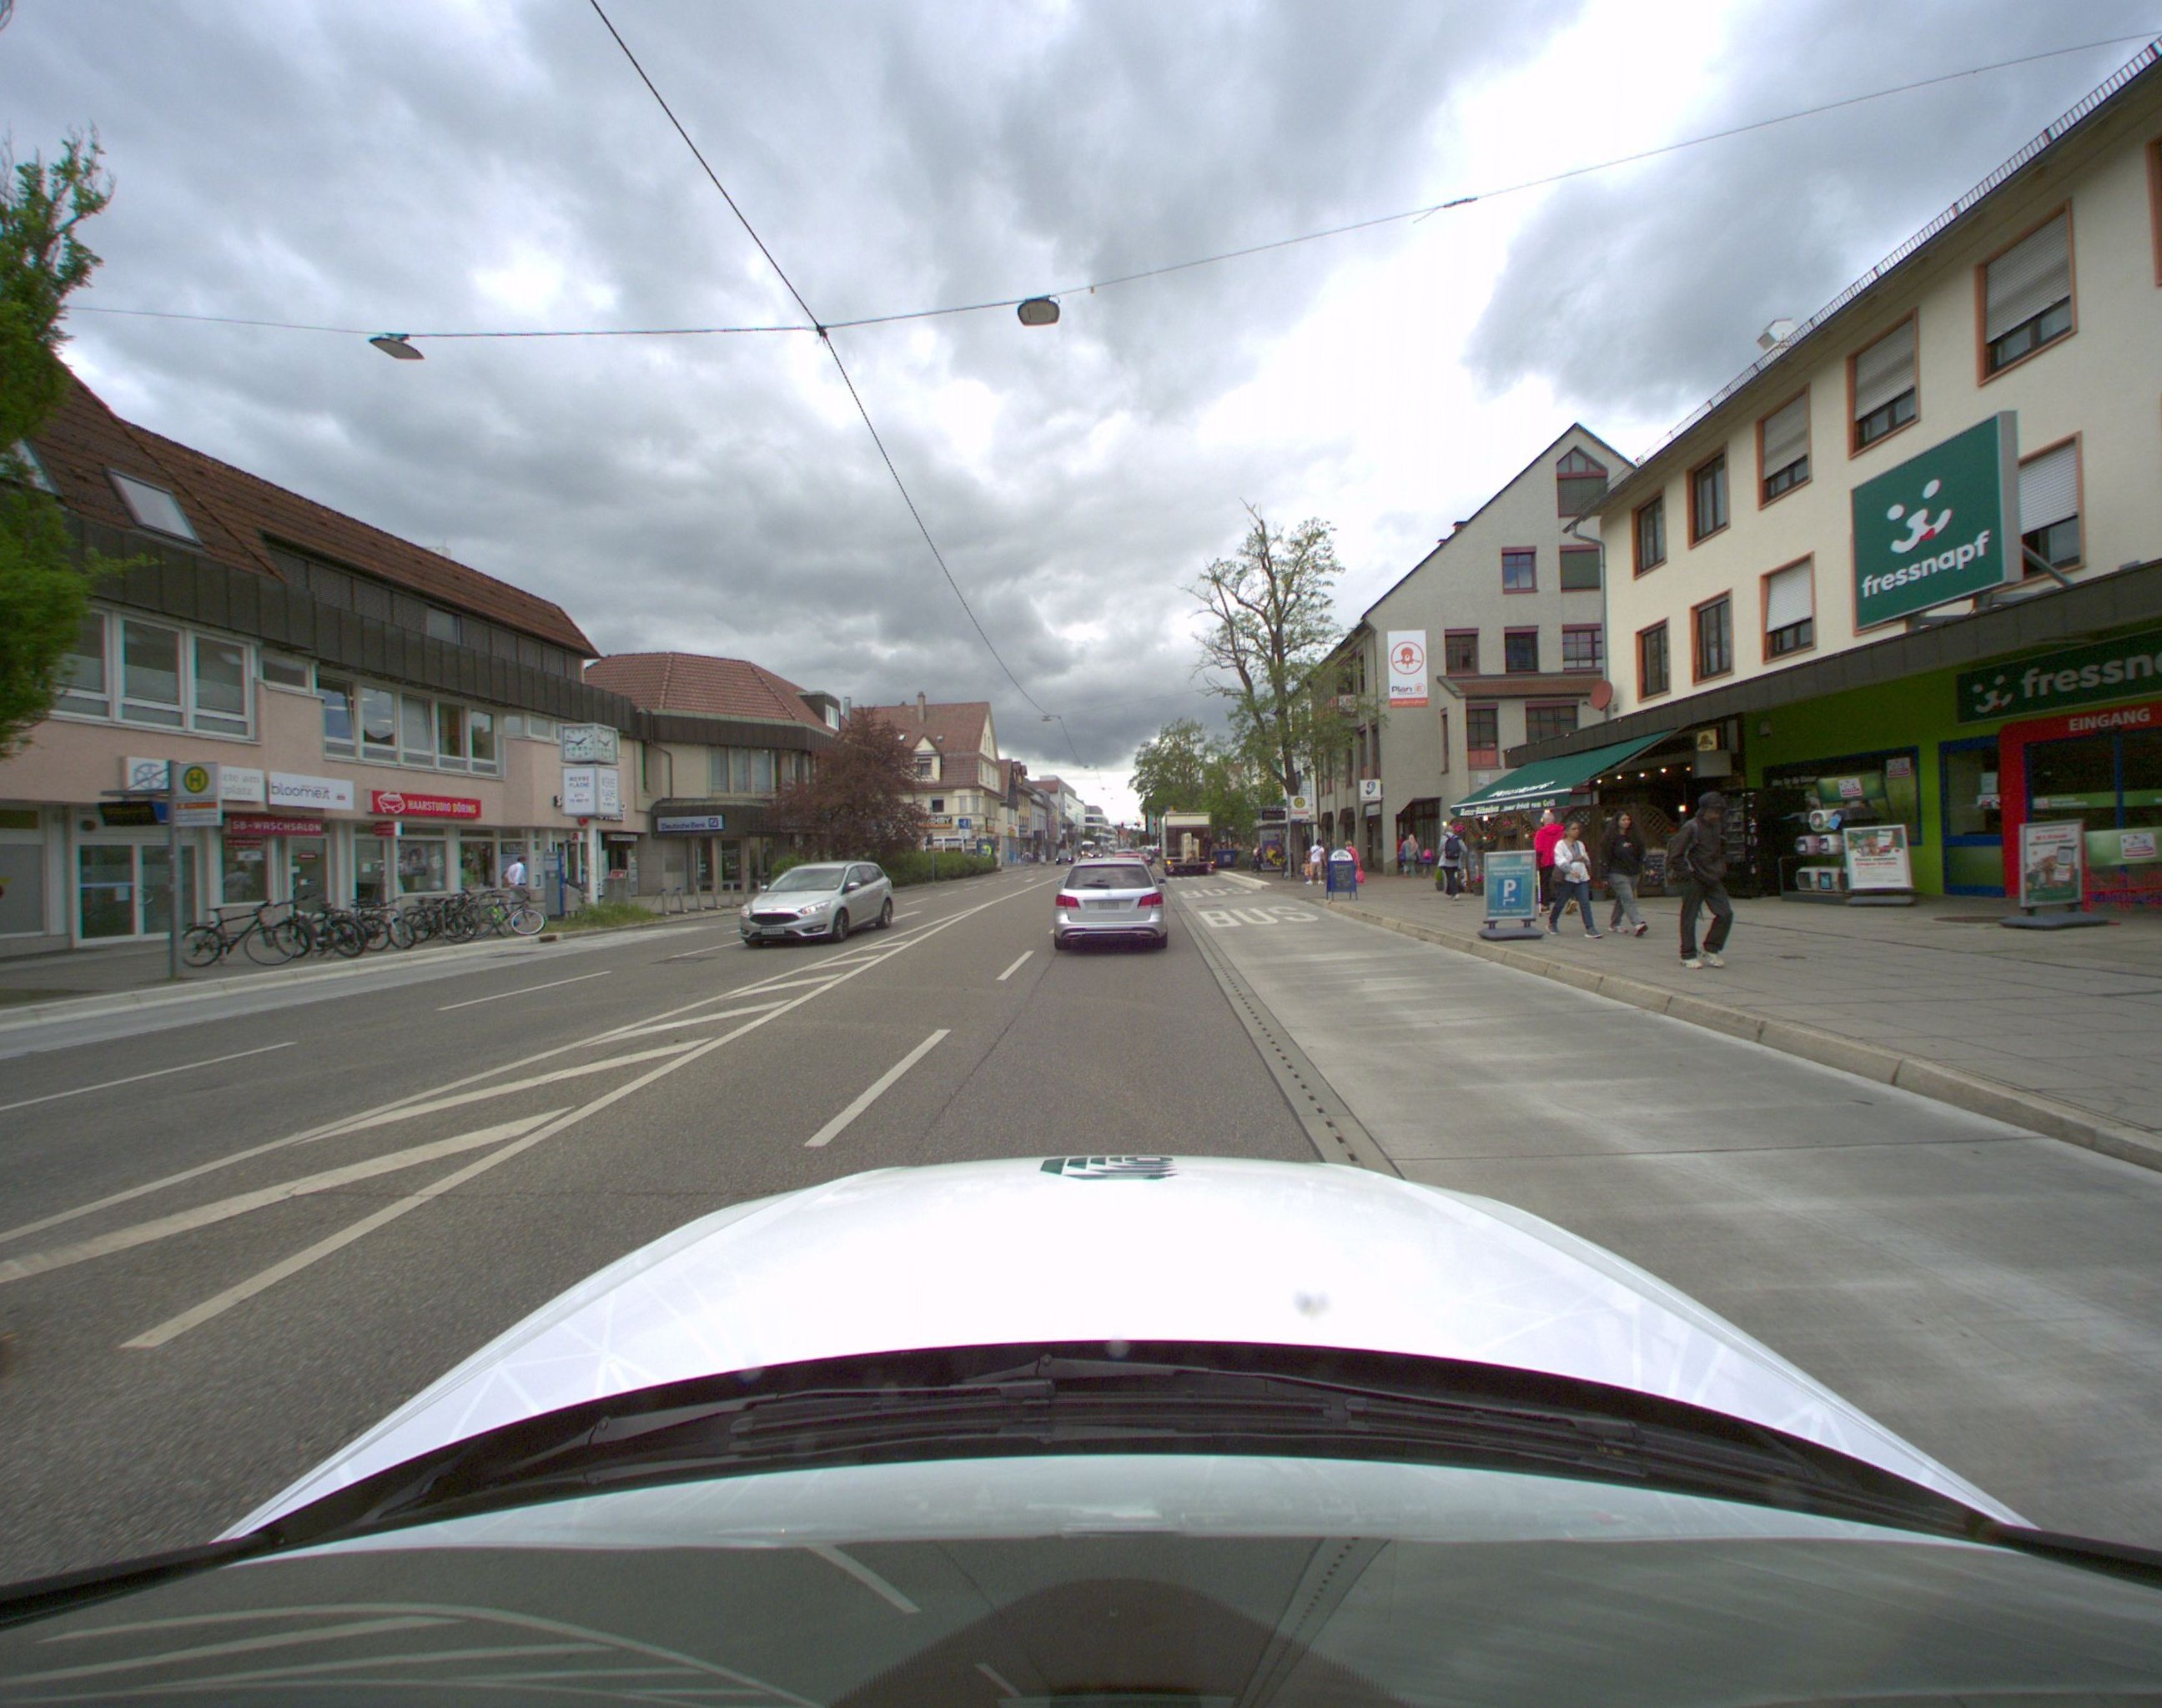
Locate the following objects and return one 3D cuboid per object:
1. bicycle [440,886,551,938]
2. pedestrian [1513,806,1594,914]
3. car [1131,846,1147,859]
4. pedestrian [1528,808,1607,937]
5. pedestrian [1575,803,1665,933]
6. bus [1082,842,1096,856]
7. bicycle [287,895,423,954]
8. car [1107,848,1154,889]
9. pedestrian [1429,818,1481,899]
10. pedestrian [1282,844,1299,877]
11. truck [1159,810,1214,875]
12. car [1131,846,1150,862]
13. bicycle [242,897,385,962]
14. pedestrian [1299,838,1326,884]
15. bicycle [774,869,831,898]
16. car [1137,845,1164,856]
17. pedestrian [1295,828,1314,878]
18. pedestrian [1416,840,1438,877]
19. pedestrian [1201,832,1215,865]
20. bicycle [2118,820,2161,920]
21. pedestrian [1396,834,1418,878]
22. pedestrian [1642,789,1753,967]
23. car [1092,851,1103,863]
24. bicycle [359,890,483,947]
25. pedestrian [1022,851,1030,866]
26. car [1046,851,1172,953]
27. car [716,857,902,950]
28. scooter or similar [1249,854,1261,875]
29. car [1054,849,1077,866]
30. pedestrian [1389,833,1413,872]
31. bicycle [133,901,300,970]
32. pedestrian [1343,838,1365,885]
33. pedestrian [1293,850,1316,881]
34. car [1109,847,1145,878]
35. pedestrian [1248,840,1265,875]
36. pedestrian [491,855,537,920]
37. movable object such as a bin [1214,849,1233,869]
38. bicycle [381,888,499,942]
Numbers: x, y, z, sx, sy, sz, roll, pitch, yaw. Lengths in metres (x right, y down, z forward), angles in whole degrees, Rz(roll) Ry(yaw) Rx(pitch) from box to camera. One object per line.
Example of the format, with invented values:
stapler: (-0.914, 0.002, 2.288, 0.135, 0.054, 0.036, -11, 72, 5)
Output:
bicycle: (-13.724, 1.348, 19.125, 2.015, 1.090, 0.648, -2, 0, -6)
pedestrian: (8.012, 0.104, 13.839, 0.793, 1.742, 0.781, -4, -2, -2)
car: (7.523, -0.188, 105.864, 1.984, 1.684, 4.005, -2, 0, 4)
pedestrian: (6.427, 0.240, 10.791, 0.610, 1.634, 0.615, -2, -1, 1)
pedestrian: (7.119, 0.182, 10.779, 0.716, 1.634, 0.615, -2, -1, 1)
bus: (1.983, -1.096, 191.414, 2.762, 3.165, 5.940, -2, 0, 5)
bicycle: (-14.567, 1.405, 16.374, 2.015, 1.090, 0.648, -1, 0, -6)
car: (2.027, 0.549, 32.929, 1.746, 1.521, 4.005, -2, 0, 4)
pedestrian: (8.348, 0.105, 18.213, 0.680, 1.742, 0.781, -4, -2, -1)
pedestrian: (9.219, 0.287, 35.790, 0.608, 1.401, 0.590, -4, -1, 17)
truck: (6.293, -0.672, 49.872, 2.676, 3.561, 9.777, -2, 0, 4)
car: (6.726, -0.049, 91.679, 1.984, 1.684, 4.005, -2, 0, 4)
bicycle: (-14.402, 1.402, 15.307, 2.012, 1.090, 0.649, -2, 0, -1)
pedestrian: (8.477, 0.239, 29.844, 0.614, 1.634, 0.789, -2, 1, -18)
bicycle: (-11.095, 1.168, 32.472, 2.015, 1.090, 0.648, -2, 0, -6)
car: (14.376, -0.764, 167.724, 5.141, 1.960, 1.954, -3, 0, -21)
pedestrian: (9.530, -0.042, 34.711, 0.608, 2.047, 0.590, -4, -1, 17)
pedestrian: (12.848, 0.158, 30.244, 0.583, 1.375, 0.616, -1, 0, 6)
pedestrian: (6.875, -0.305, 44.215, 0.611, 1.780, 0.588, -2, -1, 0)
bicycle: (11.843, 0.165, 7.851, 0.738, 1.062, 2.352, -3, 0, 2)
pedestrian: (12.311, 0.057, 30.758, 0.583, 1.634, 0.616, -1, 0, 5)
pedestrian: (6.120, 0.230, 8.111, 0.609, 1.678, 0.616, -2, 0, 6)
car: (2.304, 0.414, 112.511, 1.564, 1.540, 2.962, 0, 0, 2)
bicycle: (-14.212, 1.381, 17.564, 2.015, 1.090, 0.648, -2, 0, -6)
pedestrian: (-5.882, 0.493, 87.767, 0.814, 1.634, 0.980, 0, 0, -1)
car: (0.502, 0.714, 14.187, 1.867, 1.506, 4.002, -1, 0, 2)
car: (-5.163, 0.857, 16.172, 1.866, 1.506, 4.349, -3, 0, 4)
scooter or similar: (8.125, 0.506, 38.040, 0.387, 0.959, 0.351, -2, 0, -37)
car: (-1.779, 0.360, 94.683, 2.059, 1.738, 4.700, -4, 0, 5)
pedestrian: (13.602, -0.065, 34.661, 0.724, 1.634, 0.614, -1, 0, -5)
bicycle: (-15.259, 1.418, 14.427, 2.018, 1.090, 0.647, -1, 0, -10)
pedestrian: (9.179, 0.235, 27.374, 0.666, 1.567, 0.494, 0, 2, 24)
pedestrian: (8.839, 0.452, 32.247, 0.710, 1.166, 0.587, -1, 1, -3)
car: (2.766, 0.477, 48.568, 1.984, 1.684, 4.005, -2, 0, 4)
pedestrian: (8.300, 0.151, 38.449, 0.536, 1.634, 0.584, 1, 1, -21)
pedestrian: (-16.000, 0.928, 23.009, 0.723, 1.764, 0.756, 1, 1, 1)
movable object such as a bin: (9.779, 0.339, 55.960, 1.138, 1.339, 1.378, -2, 0, 6)
bicycle: (-14.344, 1.350, 18.269, 2.015, 1.090, 0.648, -2, 0, -6)
